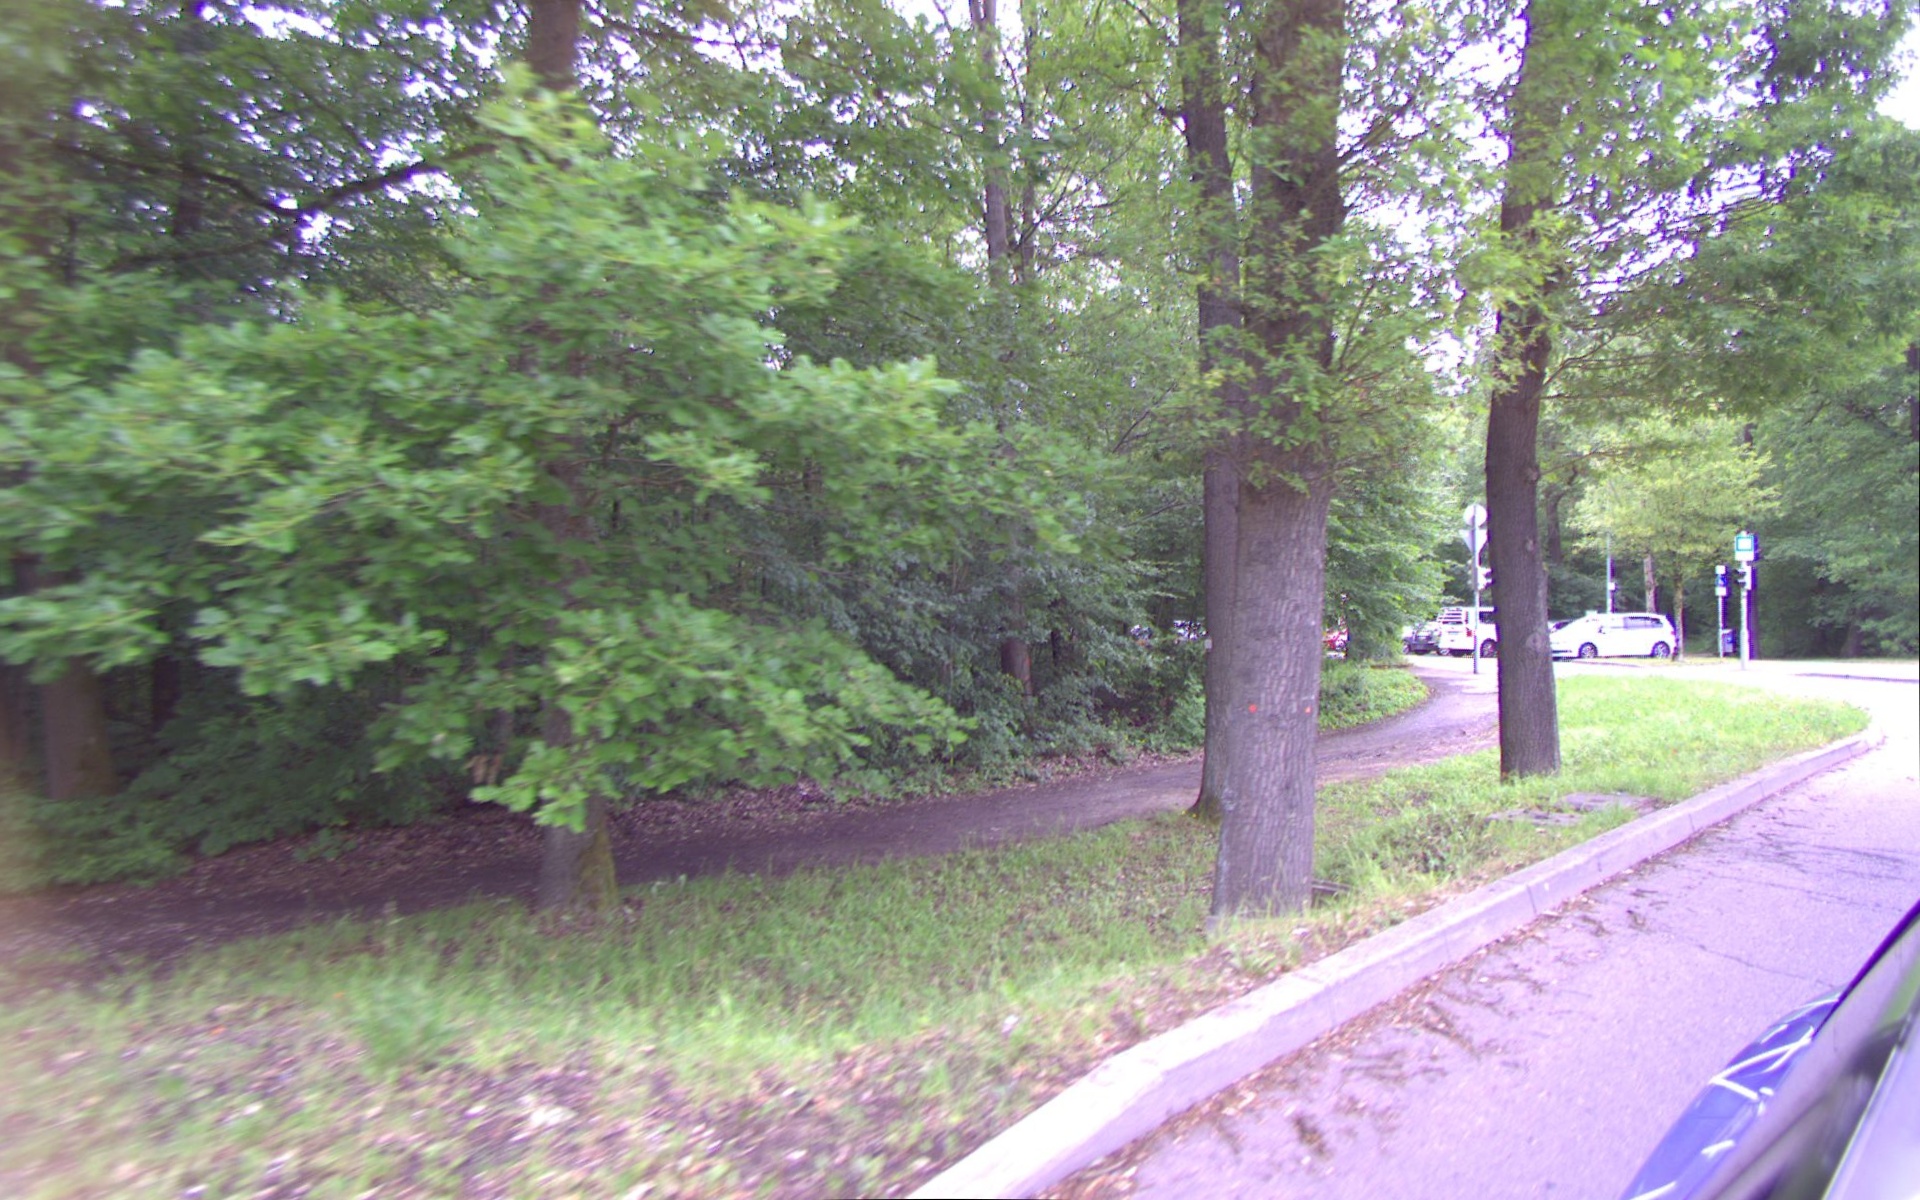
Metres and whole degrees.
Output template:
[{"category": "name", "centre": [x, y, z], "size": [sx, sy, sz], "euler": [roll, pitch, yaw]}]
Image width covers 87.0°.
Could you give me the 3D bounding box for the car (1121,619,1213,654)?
[{"category": "car", "centre": [9.866, 1.729, 48.332], "size": [3.906, 1.639, 1.851], "euler": [1, -2, -17]}]

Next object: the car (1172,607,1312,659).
[{"category": "car", "centre": [10.893, 1.277, 39.187], "size": [4.846, 1.903, 2.003], "euler": [0, -2, -13]}]

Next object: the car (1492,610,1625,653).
[{"category": "car", "centre": [22.425, 1.169, 37.997], "size": [3.918, 1.572, 1.896], "euler": [0, -2, -8]}]

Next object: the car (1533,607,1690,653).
[{"category": "car", "centre": [22.787, 1.055, 35.485], "size": [4.330, 1.572, 2.002], "euler": [0, -2, -8]}]

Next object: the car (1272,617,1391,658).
[{"category": "car", "centre": [13.568, 1.371, 36.988], "size": [3.768, 1.438, 1.824], "euler": [1, -2, -19]}]

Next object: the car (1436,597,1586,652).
[{"category": "car", "centre": [22.069, 0.979, 40.609], "size": [5.075, 1.983, 2.066], "euler": [-1, -2, -12]}]

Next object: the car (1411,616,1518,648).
[{"category": "car", "centre": [21.568, 1.361, 43.275], "size": [3.853, 1.345, 1.724], "euler": [0, -2, -14]}]

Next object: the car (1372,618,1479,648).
[{"category": "car", "centre": [20.904, 1.476, 45.468], "size": [4.043, 1.342, 1.822], "euler": [0, -2, -12]}]

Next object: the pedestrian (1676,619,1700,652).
[{"category": "pedestrian", "centre": [37.861, 1.830, 52.640], "size": [0.831, 1.672, 1.019], "euler": [-2, -3, 45]}]
